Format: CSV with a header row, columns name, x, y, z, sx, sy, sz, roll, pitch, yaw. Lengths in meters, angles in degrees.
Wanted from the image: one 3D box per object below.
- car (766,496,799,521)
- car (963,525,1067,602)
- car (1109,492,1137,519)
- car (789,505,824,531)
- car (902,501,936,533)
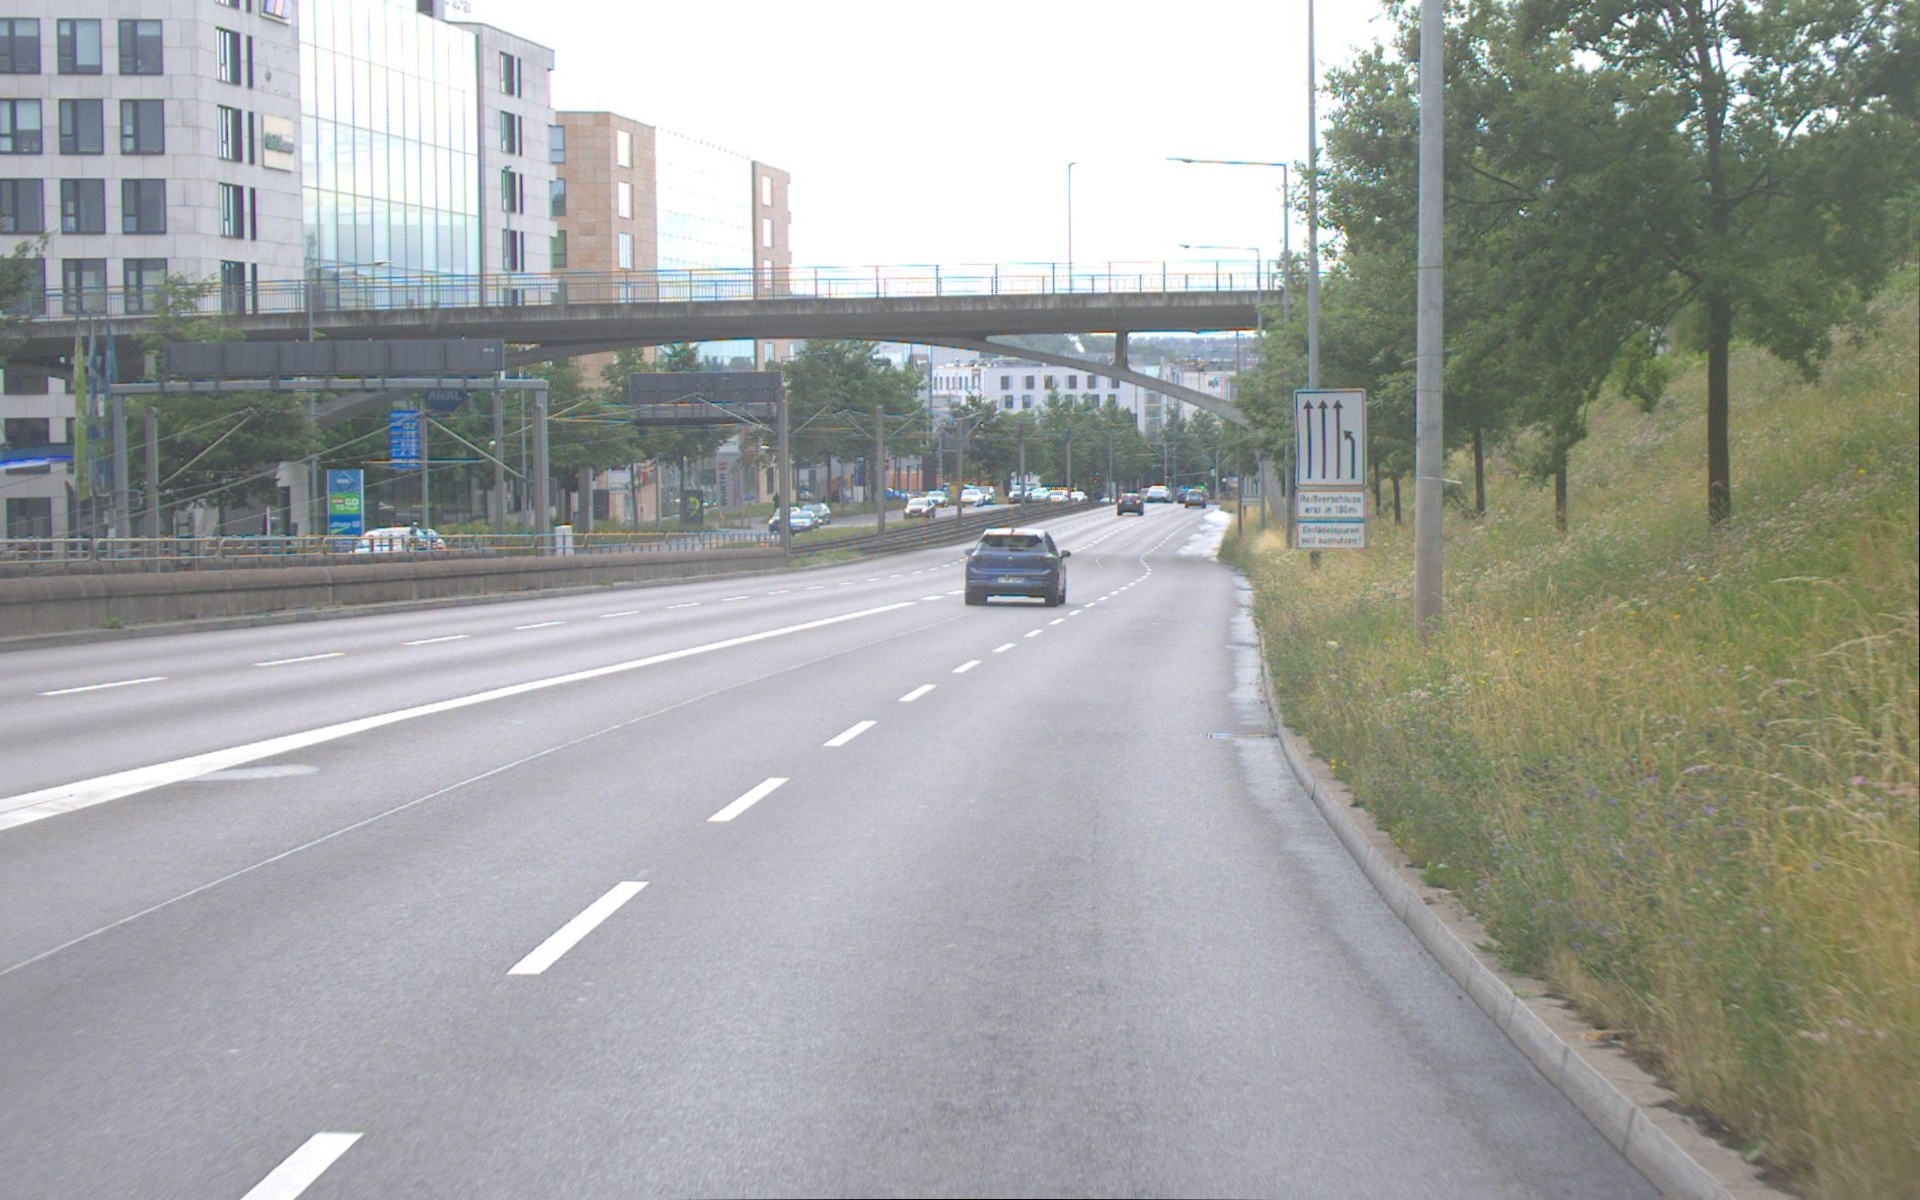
name,x,y,z,sx,sy,sz,roll,pitch,yaw
car,-10.514,-5.430,203.771,1.518,1.415,3.478,0,2,5
car,1.071,-0.700,65.617,1.749,1.415,3.478,0,1,5
car,11.850,-6.884,249.947,1.863,1.743,4.001,2,4,1
car,-8.551,-4.612,191.941,1.518,1.415,3.478,0,2,5
car,-2.844,-5.735,236.859,1.994,2.006,4.000,2,4,3
